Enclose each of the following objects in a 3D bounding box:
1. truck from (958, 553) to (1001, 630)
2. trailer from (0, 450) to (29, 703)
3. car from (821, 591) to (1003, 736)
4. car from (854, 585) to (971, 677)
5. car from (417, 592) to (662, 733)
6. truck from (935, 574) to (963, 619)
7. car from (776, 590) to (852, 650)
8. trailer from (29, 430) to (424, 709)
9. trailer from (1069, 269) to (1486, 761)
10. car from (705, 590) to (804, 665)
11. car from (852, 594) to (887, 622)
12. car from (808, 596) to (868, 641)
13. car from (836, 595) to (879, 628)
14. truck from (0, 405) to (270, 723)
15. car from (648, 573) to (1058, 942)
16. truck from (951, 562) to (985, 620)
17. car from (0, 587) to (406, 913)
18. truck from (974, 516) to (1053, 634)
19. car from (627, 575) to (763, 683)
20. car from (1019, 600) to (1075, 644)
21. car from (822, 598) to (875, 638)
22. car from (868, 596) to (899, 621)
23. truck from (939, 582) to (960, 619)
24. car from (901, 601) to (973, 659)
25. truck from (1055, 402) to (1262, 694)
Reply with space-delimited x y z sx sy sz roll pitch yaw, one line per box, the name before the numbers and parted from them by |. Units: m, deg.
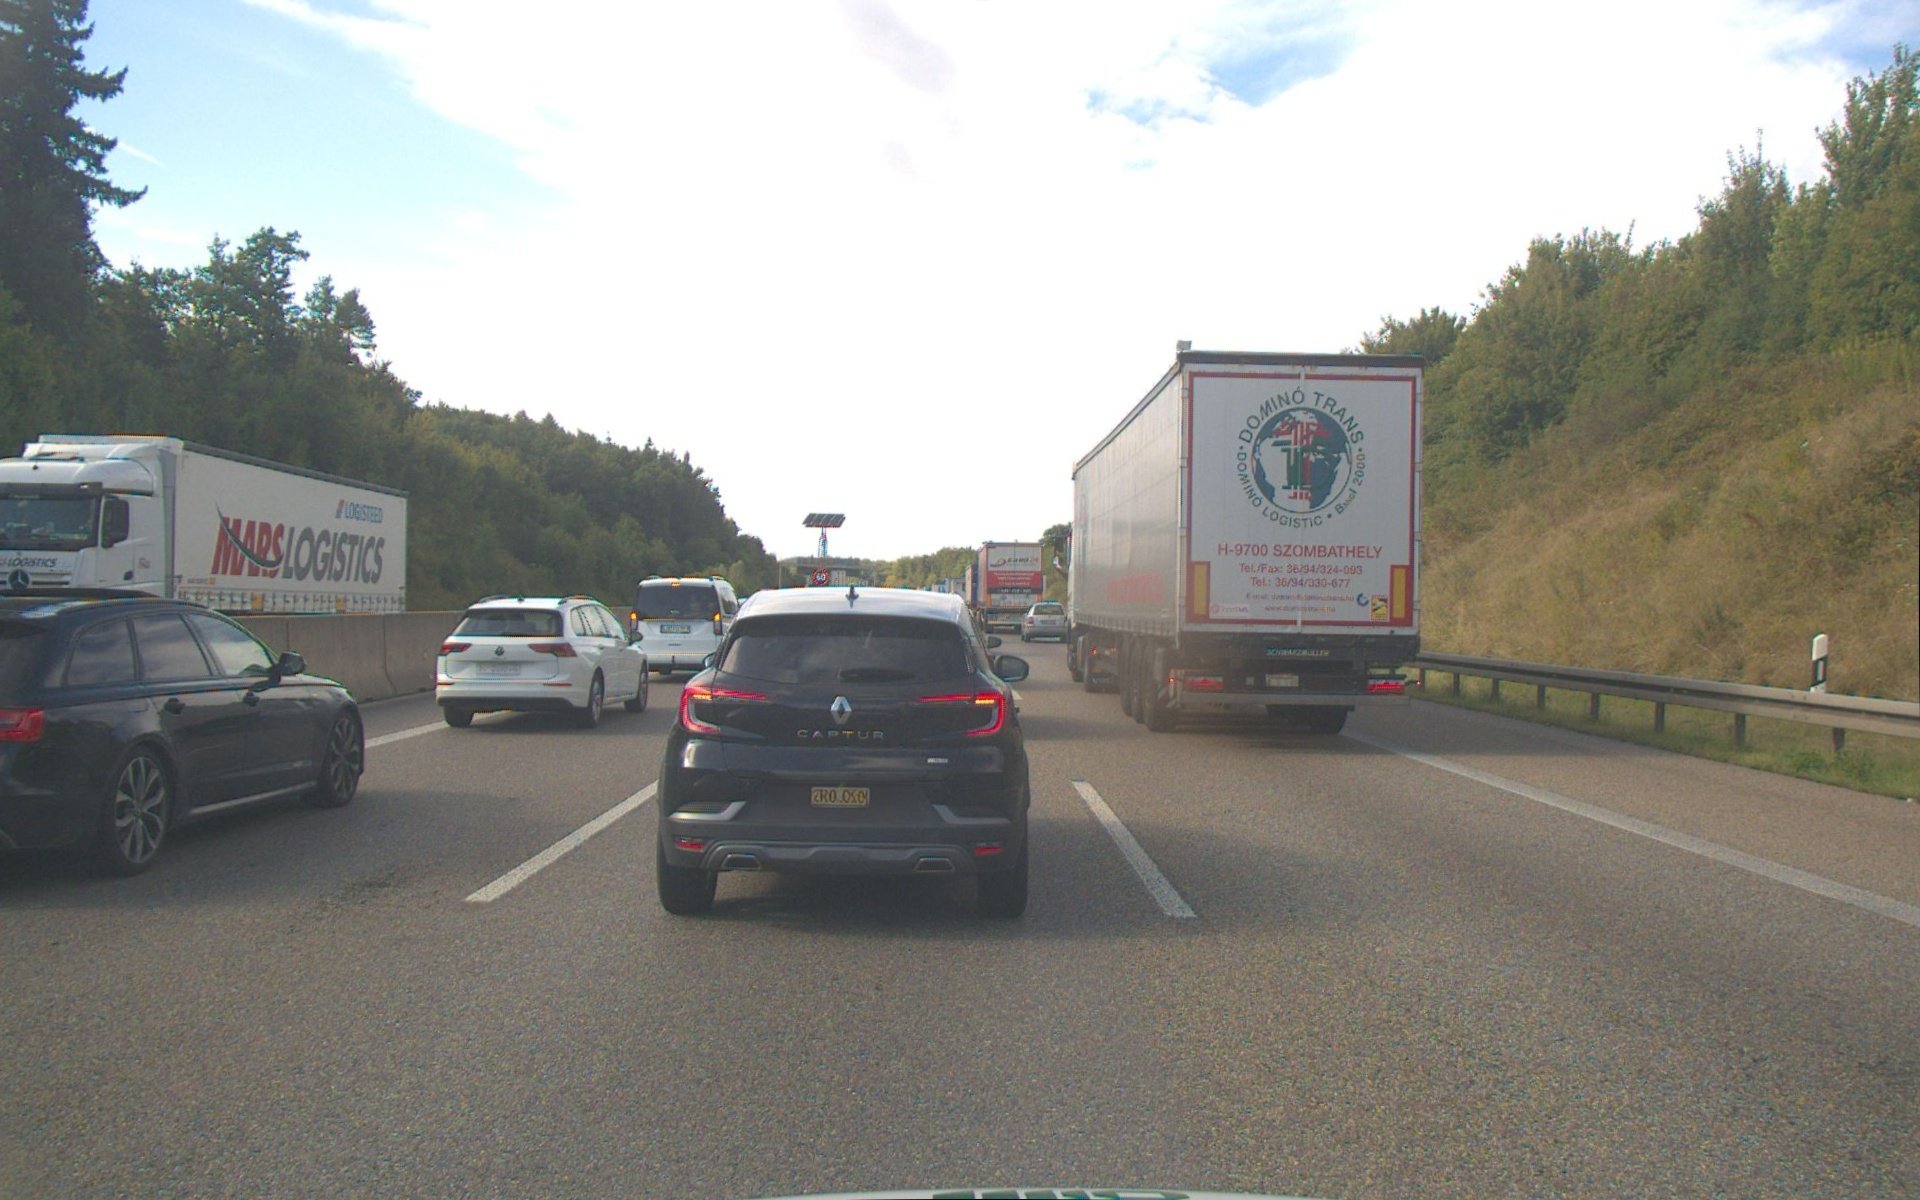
truck | 1.484 -0.591 128.769 3.101 5.601 12.736 1 -1 0
trailer | -19.975 -0.524 25.677 2.867 4.914 14.650 1 0 -1
car | -0.517 0.708 19.945 1.953 1.540 4.000 1 0 0
car | -0.811 0.541 30.055 1.953 1.540 4.000 1 0 0
car | -4.889 0.687 19.852 1.767 1.486 4.308 1 0 1
truck | -1.292 -0.359 202.676 3.101 5.250 12.736 1 -1 0
car | -4.430 0.601 50.797 1.953 1.752 4.000 1 -1 0
trailer | -15.953 -0.513 37.855 3.025 5.162 13.831 1 0 -1
trailer | 3.540 -0.837 22.747 2.941 4.742 13.287 1 0 -1
car | -4.892 0.647 39.814 1.817 1.669 3.925 1 -1 0
car | -5.597 0.480 102.523 1.953 1.641 4.000 1 0 0
car | -4.606 0.694 62.836 1.953 1.641 4.000 1 -1 0
car | -5.242 0.562 85.041 1.953 1.641 4.000 1 0 0
truck | -15.826 -0.578 30.693 3.025 5.190 7.139 1 -1 -1
car | -0.403 0.683 9.166 1.767 1.579 4.001 0 0 2
truck | 0.878 -0.831 169.417 3.101 5.601 12.739 1 -1 2
car | -5.047 0.677 9.957 1.805 1.481 4.747 1 0 0
truck | 2.398 -1.050 78.732 3.296 5.132 12.736 1 -1 0
car | -4.821 0.523 30.648 1.873 1.821 4.416 1 -1 -1
car | 3.204 0.806 61.674 1.768 1.559 3.924 1 0 -1
car | -4.704 0.752 70.369 1.953 1.641 4.000 1 -1 0
car | -5.322 0.582 115.868 1.953 1.641 4.000 1 0 0
truck | -1.684 0.112 262.641 3.101 5.601 12.736 1 -1 0
car | -0.631 0.836 47.107 1.953 1.540 4.000 1 0 0
truck | 3.428 -0.856 30.111 2.936 4.749 5.938 1 0 -1
